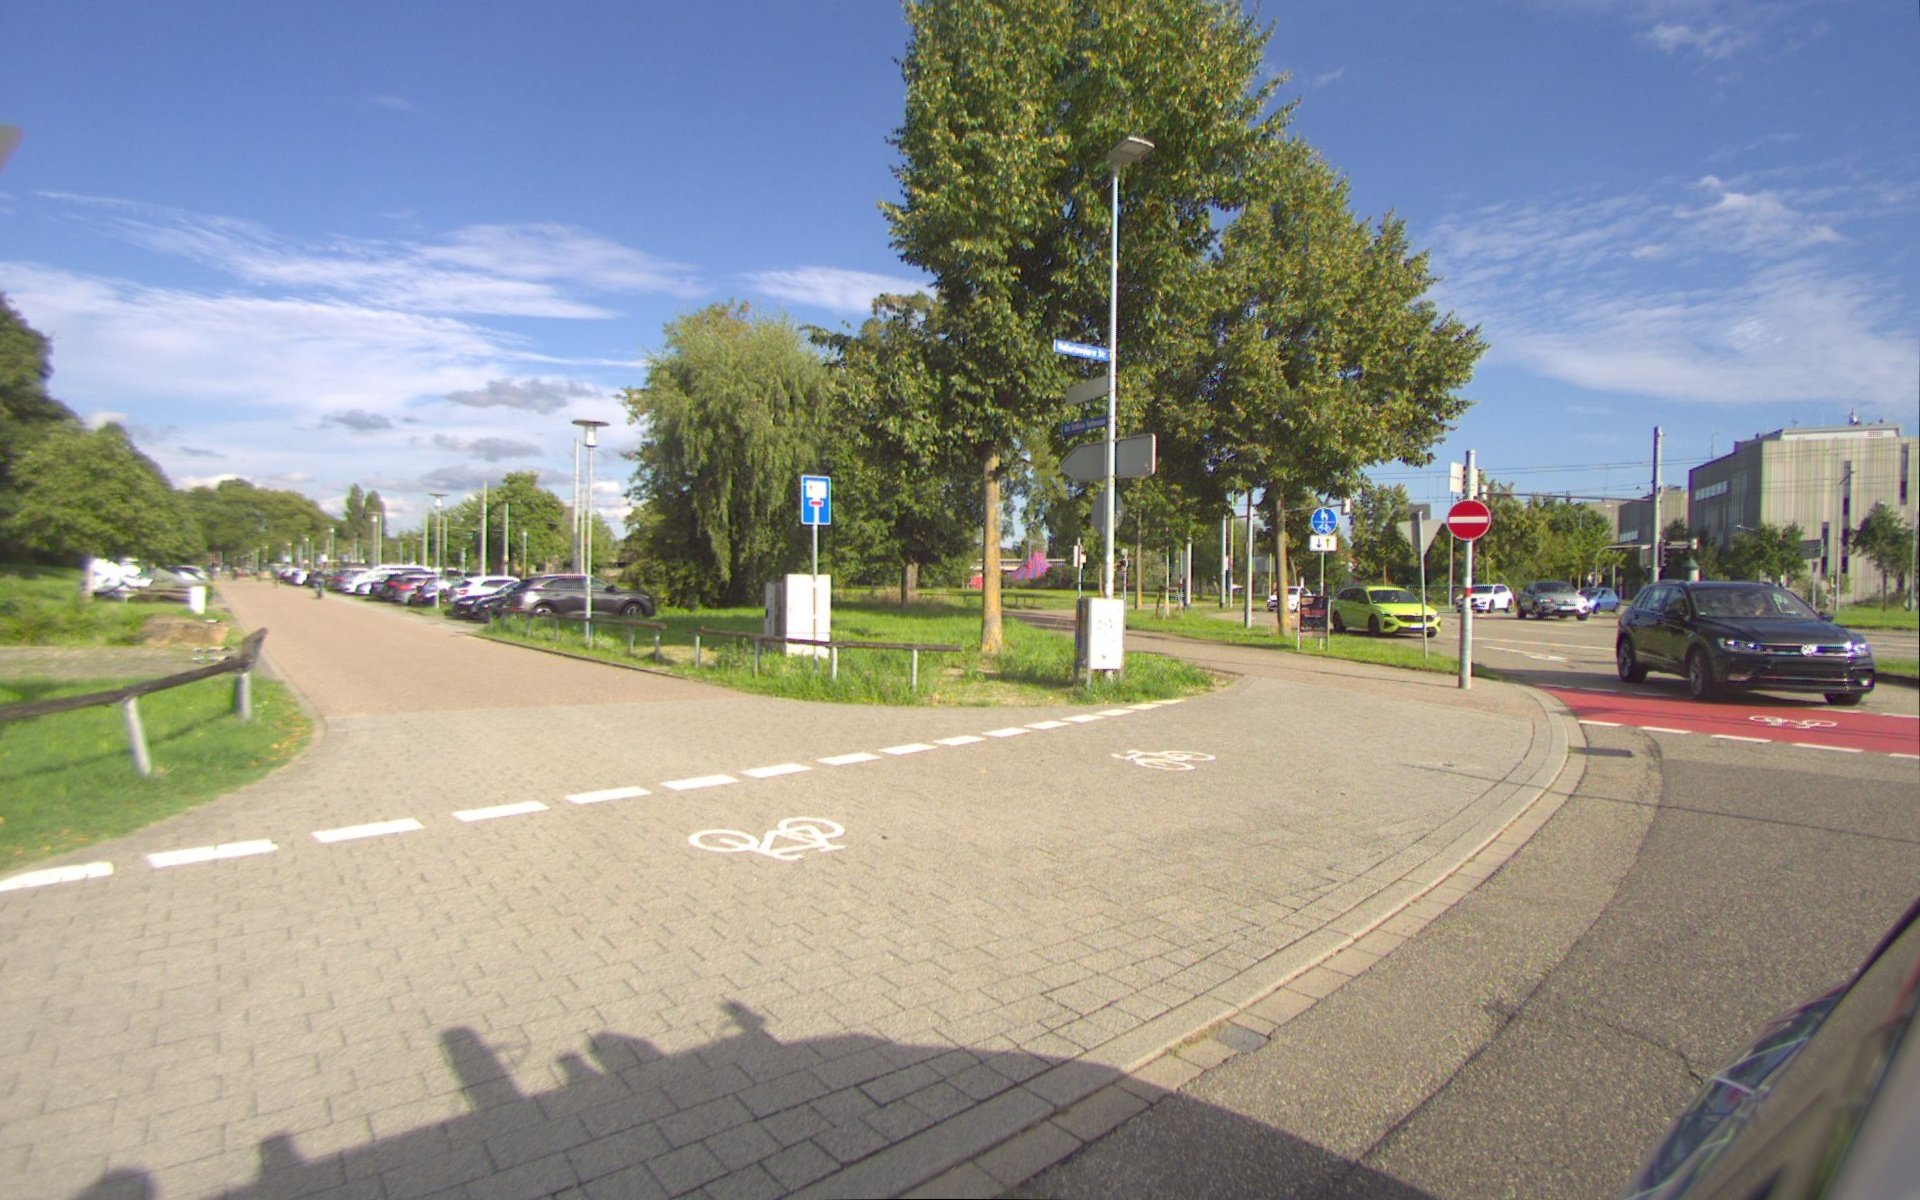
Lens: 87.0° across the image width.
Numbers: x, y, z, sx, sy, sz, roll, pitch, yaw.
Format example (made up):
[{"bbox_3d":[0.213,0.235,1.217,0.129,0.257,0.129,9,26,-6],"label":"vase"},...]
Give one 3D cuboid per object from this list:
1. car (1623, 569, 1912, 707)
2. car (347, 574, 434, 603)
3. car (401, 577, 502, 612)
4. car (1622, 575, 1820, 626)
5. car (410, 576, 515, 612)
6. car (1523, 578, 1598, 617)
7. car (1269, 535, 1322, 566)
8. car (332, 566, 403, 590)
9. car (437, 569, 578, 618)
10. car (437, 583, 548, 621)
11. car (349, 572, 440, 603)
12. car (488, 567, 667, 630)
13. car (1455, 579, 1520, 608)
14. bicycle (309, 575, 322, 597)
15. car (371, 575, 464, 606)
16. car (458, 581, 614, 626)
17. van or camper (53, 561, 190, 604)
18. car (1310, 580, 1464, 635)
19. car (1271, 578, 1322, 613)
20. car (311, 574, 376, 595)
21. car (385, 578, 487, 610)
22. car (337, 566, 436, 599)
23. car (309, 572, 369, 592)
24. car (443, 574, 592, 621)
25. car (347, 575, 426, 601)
[{"bbox_3d":[11.314,0.446,14.600,1.797,1.679,4.220,0,0,17],"label":"car"},{"bbox_3d":[-31.768,-0.657,56.501,3.930,1.591,1.997,0,1,-41],"label":"car"},{"bbox_3d":[-23.942,-0.277,47.681,3.929,1.543,1.998,-1,0,-39],"label":"car"},{"bbox_3d":[24.920,-0.003,33.413,2.258,1.543,4.879,0,0,-14],"label":"car"},{"bbox_3d":[-22.350,-0.286,45.519,3.929,1.543,1.998,-1,0,-39],"label":"car"},{"bbox_3d":[24.808,-0.148,41.938,1.976,1.504,4.233,1,1,21],"label":"car"},{"bbox_3d":[23.116,-3.344,69.955,2.437,1.890,6.237,0,0,9],"label":"car"},{"bbox_3d":[-40.739,-1.492,69.630,3.930,1.591,1.997,0,1,-41],"label":"car"},{"bbox_3d":[-17.960,-0.272,40.232,4.816,1.822,2.361,-1,0,-33],"label":"car"},{"bbox_3d":[-19.833,0.045,42.965,3.929,1.543,1.998,-1,0,-39],"label":"car"},{"bbox_3d":[-30.074,-0.655,53.828,3.930,1.591,1.997,0,1,-41],"label":"car"},{"bbox_3d":[-11.866,-0.070,31.500,4.817,1.822,2.273,-1,0,-35],"label":"car"},{"bbox_3d":[29.853,-0.389,57.186,4.182,1.547,1.984,-1,1,-43],"label":"car"},{"bbox_3d":[-36.262,-0.788,56.936,0.626,1.179,1.760,0,0,-33],"label":"bicycle"},{"bbox_3d":[-27.625,-0.480,51.593,3.929,1.543,1.714,-1,0,-39],"label":"car"},{"bbox_3d":[-15.024,0.090,35.968,4.816,1.518,2.088,-1,0,-33],"label":"car"},{"bbox_3d":[-32.812,-0.678,39.753,3.923,1.594,2.000,-1,0,-34],"label":"van or camper"},{"bbox_3d":[12.797,0.174,30.856,2.003,1.487,5.991,0,1,-2],"label":"car"},{"bbox_3d":[19.390,-0.281,58.110,1.823,1.890,5.349,0,0,29],"label":"car"},{"bbox_3d":[-46.420,-1.159,76.246,3.930,1.591,1.997,0,1,-41],"label":"car"},{"bbox_3d":[-25.830,-0.303,49.922,4.157,1.543,1.998,-1,0,-39],"label":"car"},{"bbox_3d":[-37.217,-1.144,65.805,5.335,2.075,1.997,0,1,-41],"label":"car"},{"bbox_3d":[-51.027,-1.494,83.177,3.930,1.591,1.997,0,1,-41],"label":"car"},{"bbox_3d":[-16.537,-0.143,37.894,4.816,1.616,2.275,-1,2,-33],"label":"car"},{"bbox_3d":[-35.550,-0.750,62.777,3.930,1.591,1.997,0,1,-41],"label":"car"}]
